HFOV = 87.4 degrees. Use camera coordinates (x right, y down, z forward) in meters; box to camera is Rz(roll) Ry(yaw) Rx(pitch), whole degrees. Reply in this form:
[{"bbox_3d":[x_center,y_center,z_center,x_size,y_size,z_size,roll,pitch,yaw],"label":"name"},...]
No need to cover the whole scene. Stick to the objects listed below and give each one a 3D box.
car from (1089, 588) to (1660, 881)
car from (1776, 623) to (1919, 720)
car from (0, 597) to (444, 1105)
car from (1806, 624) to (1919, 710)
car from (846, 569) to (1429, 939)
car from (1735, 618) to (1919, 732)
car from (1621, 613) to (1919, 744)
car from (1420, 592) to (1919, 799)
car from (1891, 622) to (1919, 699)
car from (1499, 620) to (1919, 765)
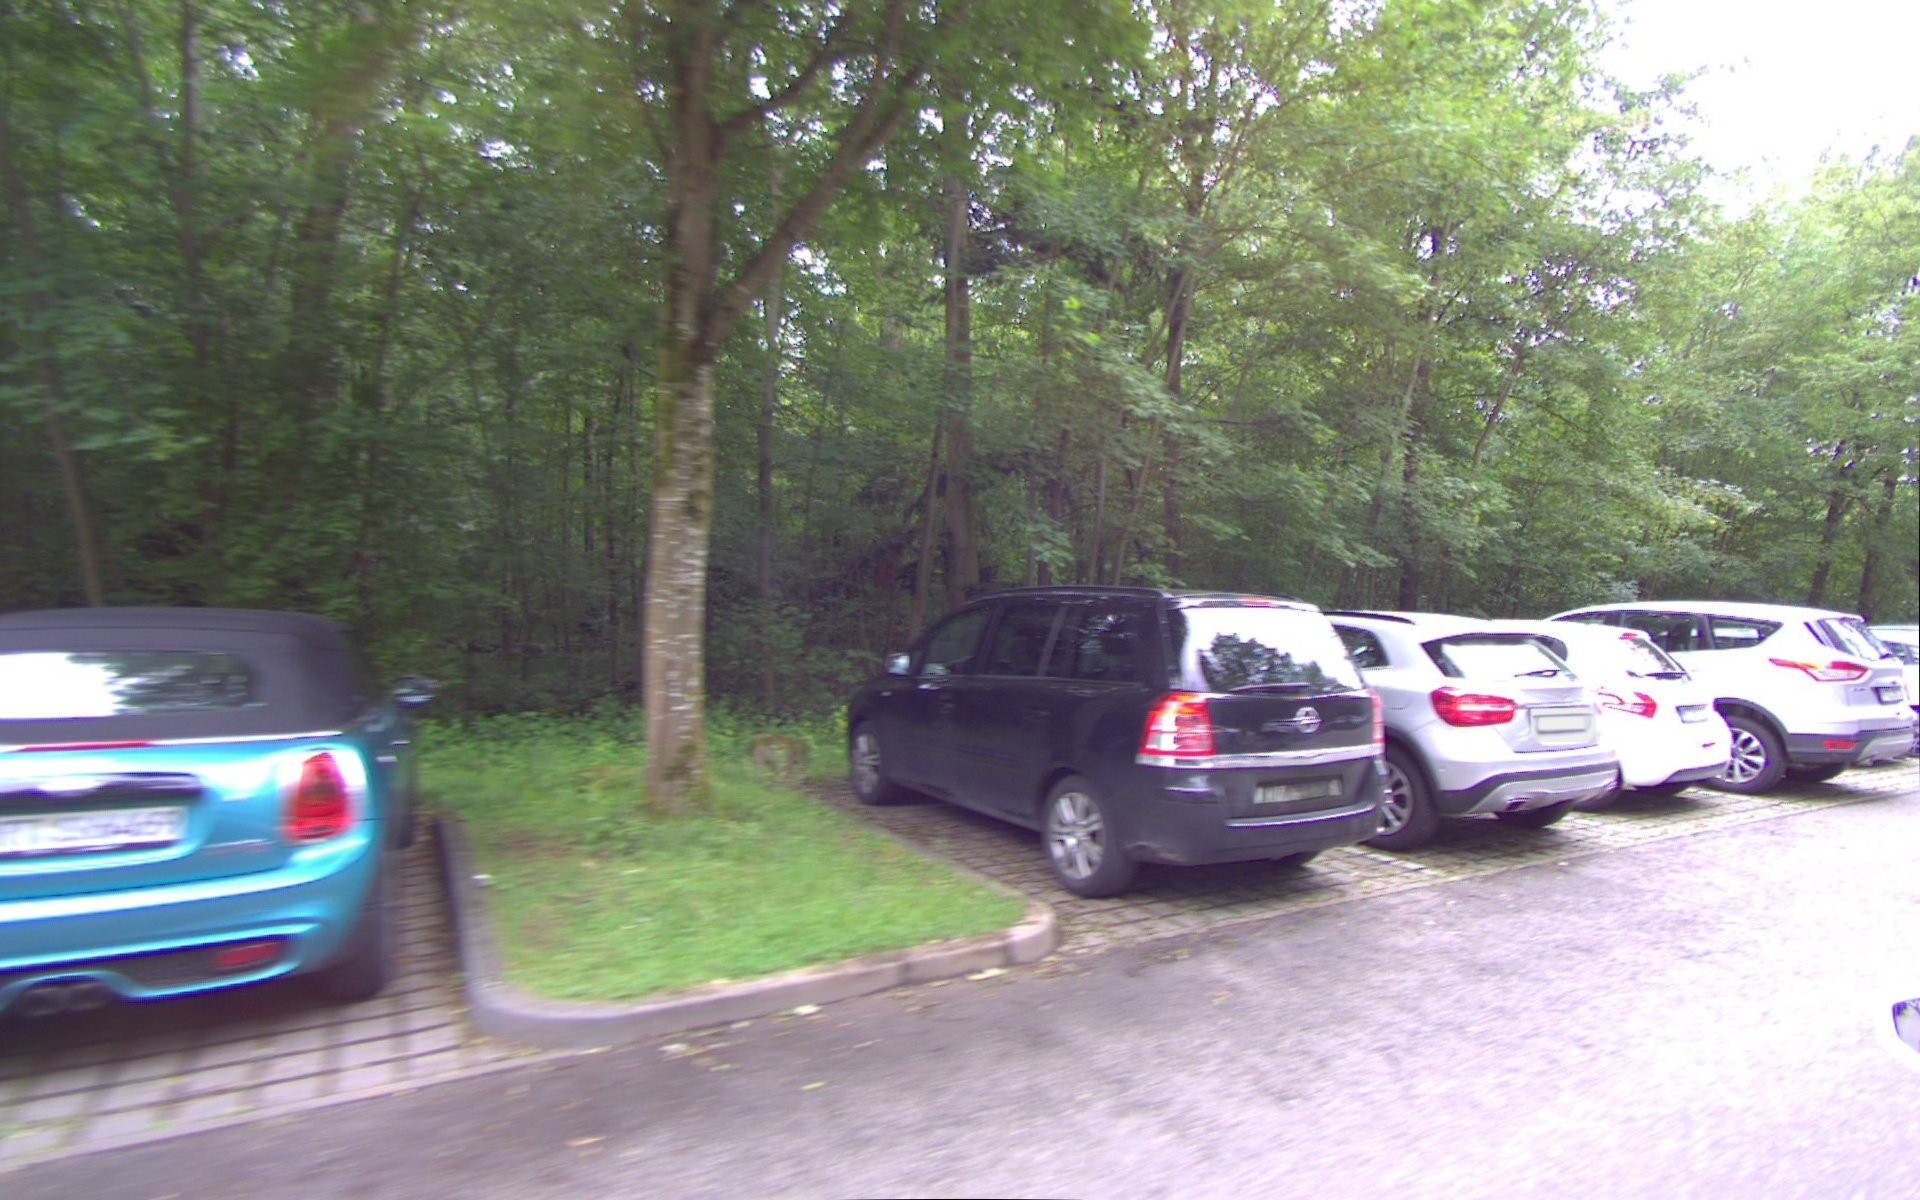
[{"bbox_3d":[2.922,0.809,7.974,1.792,1.684,3.970,1,-1,-29],"label":"car"},{"bbox_3d":[15.850,1.168,16.093,1.656,1.454,3.971,1,1,-27],"label":"car"},{"bbox_3d":[-3.445,0.749,4.789,1.674,1.467,3.973,1,-1,-27],"label":"car"},{"bbox_3d":[17.829,1.223,17.809,1.681,1.454,3.971,1,1,-27],"label":"car"},{"bbox_3d":[0.825,0.734,6.730,1.677,1.684,3.967,1,-1,-31],"label":"car"},{"bbox_3d":[13.532,1.053,14.010,1.656,1.454,3.971,1,1,-27],"label":"car"},{"bbox_3d":[11.283,0.967,13.257,1.628,1.454,3.971,3,-1,-27],"label":"car"},{"bbox_3d":[7.081,0.794,10.338,1.793,1.684,3.967,1,-1,-31],"label":"car"},{"bbox_3d":[20.098,1.222,18.514,1.694,1.487,3.968,1,1,-30],"label":"car"},{"bbox_3d":[9.120,1.010,12.447,1.794,1.440,3.967,3,-2,-31],"label":"car"}]
